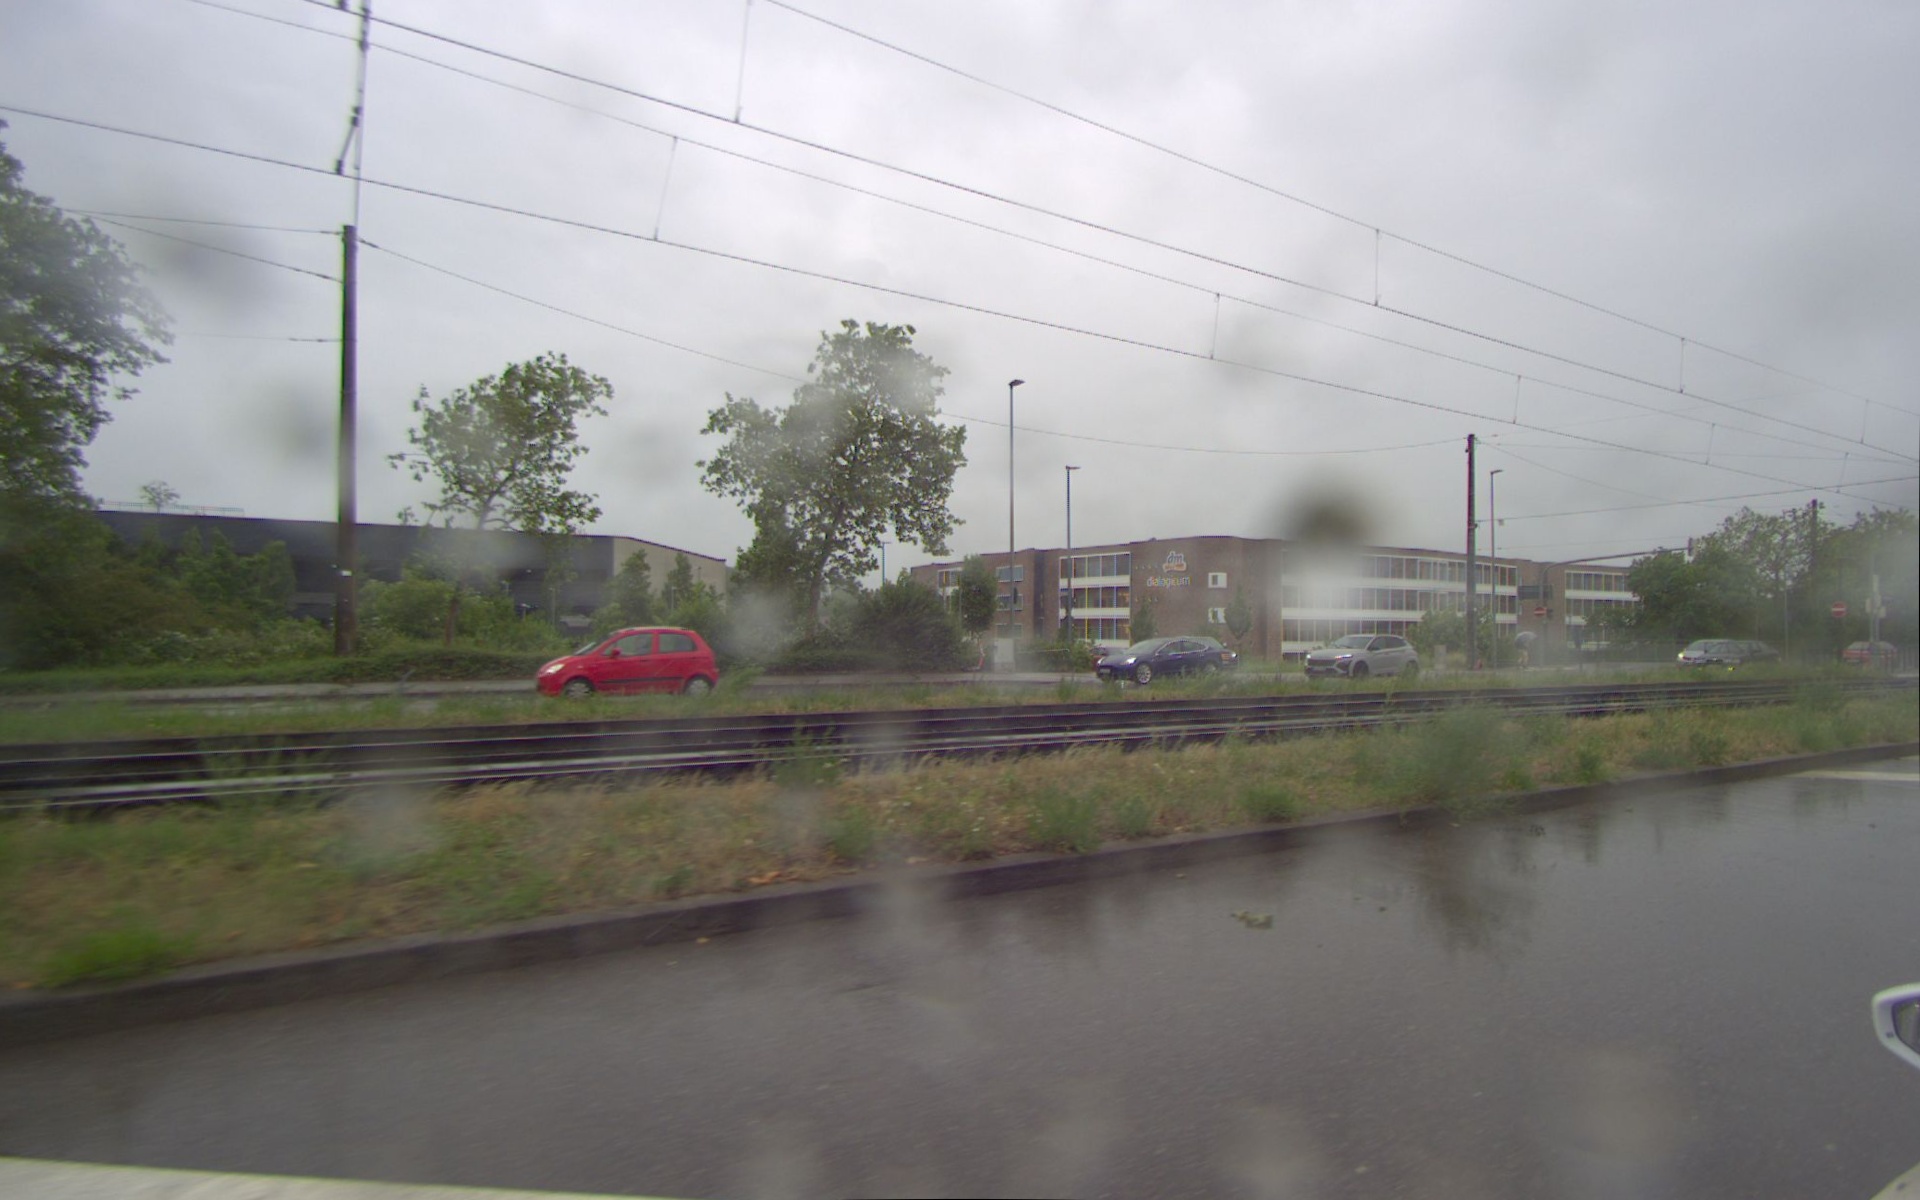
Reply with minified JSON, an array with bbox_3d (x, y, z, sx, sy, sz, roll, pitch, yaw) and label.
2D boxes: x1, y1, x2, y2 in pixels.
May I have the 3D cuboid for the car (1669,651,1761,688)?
[{"bbox_3d":[34.887,3.183,46.425,4.047,1.616,1.984,1,-4,-31],"label":"car"}]

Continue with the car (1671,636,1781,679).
[{"bbox_3d":[30.739,2.303,40.294,4.330,1.616,1.985,1,-5,-31],"label":"car"}]

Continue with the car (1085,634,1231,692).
[{"bbox_3d":[6.399,1.980,32.283,4.489,1.703,1.983,2,-1,-32],"label":"car"}]

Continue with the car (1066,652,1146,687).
[{"bbox_3d":[7.100,3.370,49.321,1.971,1.461,4.352,1,-1,-21],"label":"car"}]

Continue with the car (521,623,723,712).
[{"bbox_3d":[-6.756,1.315,20.142,3.578,1.610,1.594,2,-1,-31],"label":"car"}]

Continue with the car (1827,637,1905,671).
[{"bbox_3d":[49.778,2.958,55.167,4.572,1.729,1.983,2,-1,-31],"label":"car"}]

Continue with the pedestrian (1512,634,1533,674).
[{"bbox_3d":[29.355,2.803,52.417,0.688,2.040,0.695,1,-1,-30],"label":"pedestrian"}]

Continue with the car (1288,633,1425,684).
[{"bbox_3d":[12.739,1.838,32.222,4.251,1.505,1.983,2,-1,-32],"label":"car"}]
